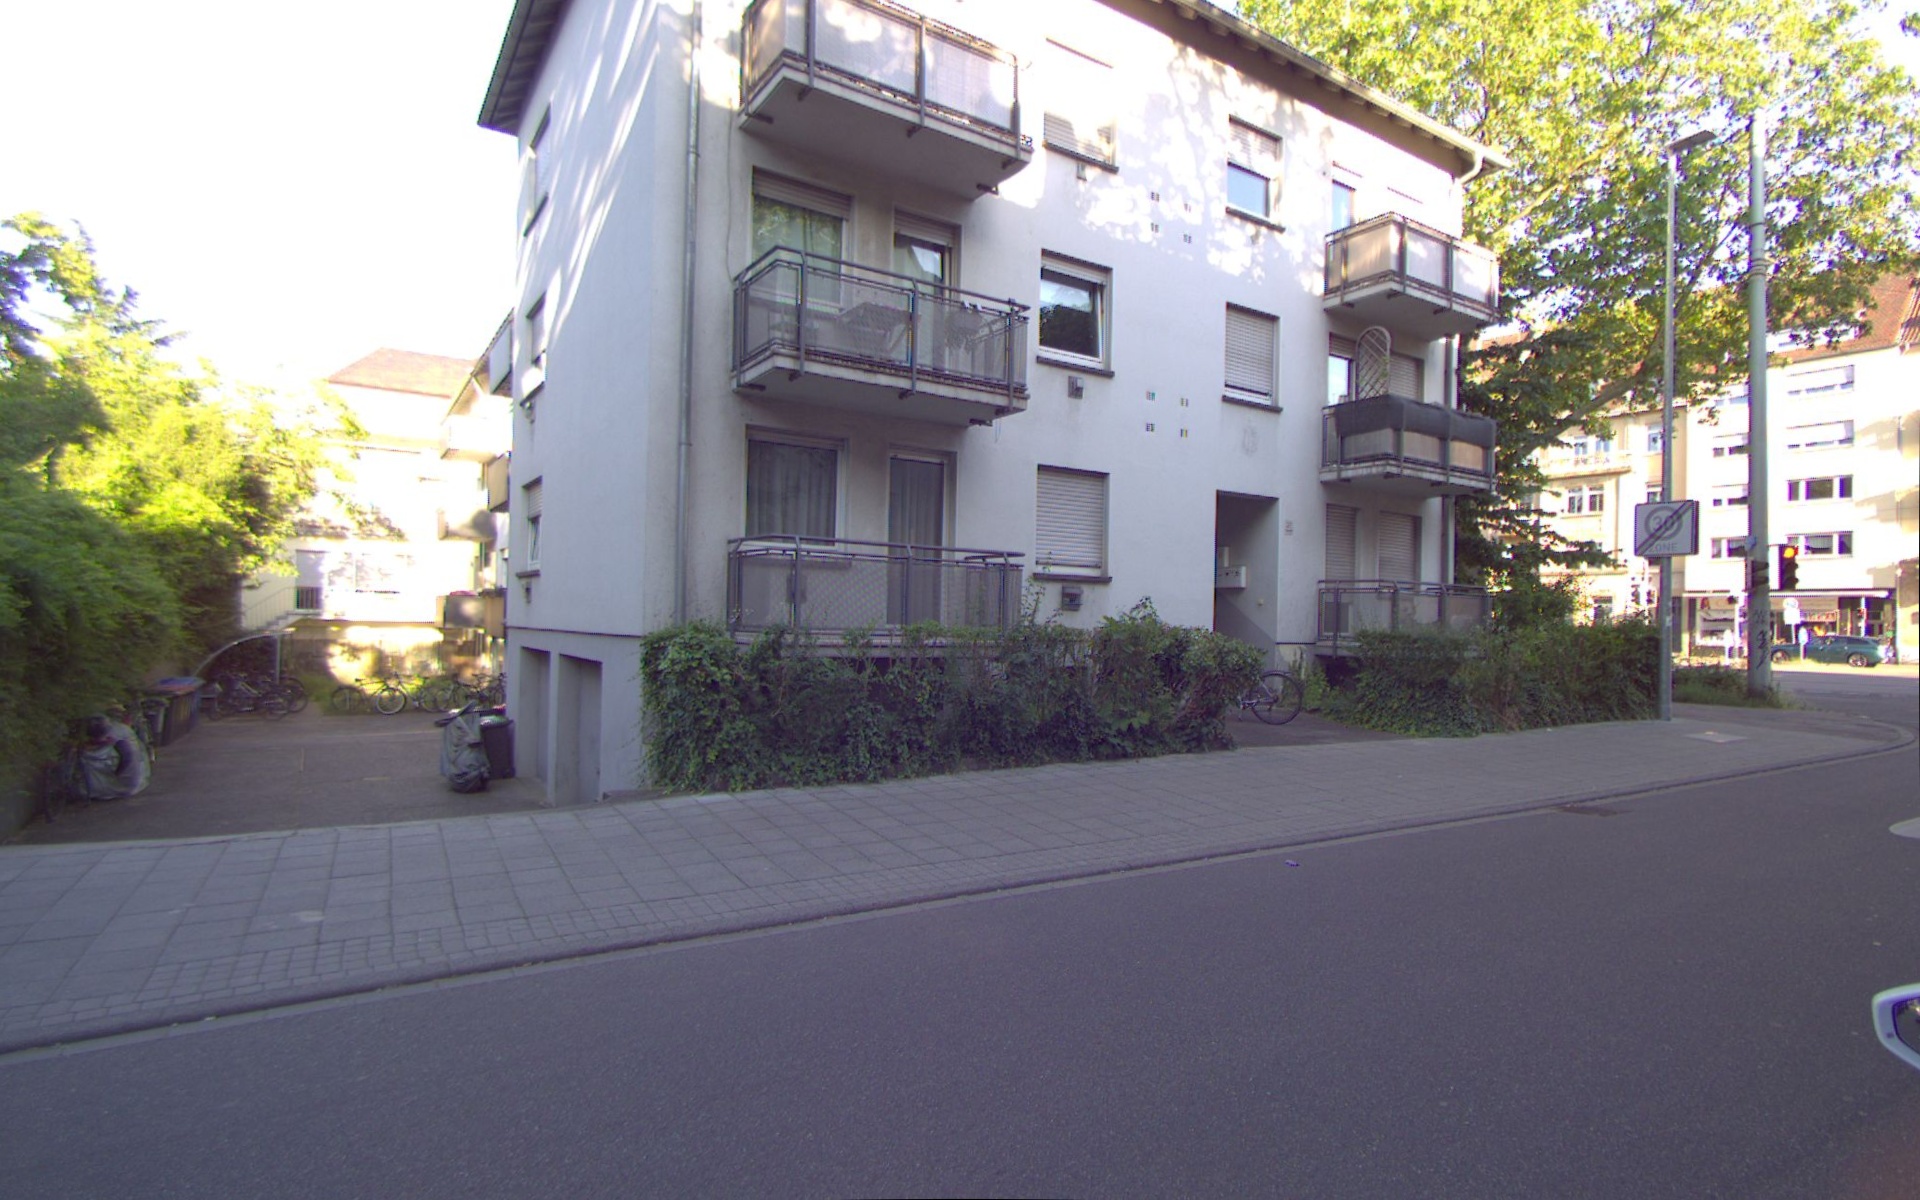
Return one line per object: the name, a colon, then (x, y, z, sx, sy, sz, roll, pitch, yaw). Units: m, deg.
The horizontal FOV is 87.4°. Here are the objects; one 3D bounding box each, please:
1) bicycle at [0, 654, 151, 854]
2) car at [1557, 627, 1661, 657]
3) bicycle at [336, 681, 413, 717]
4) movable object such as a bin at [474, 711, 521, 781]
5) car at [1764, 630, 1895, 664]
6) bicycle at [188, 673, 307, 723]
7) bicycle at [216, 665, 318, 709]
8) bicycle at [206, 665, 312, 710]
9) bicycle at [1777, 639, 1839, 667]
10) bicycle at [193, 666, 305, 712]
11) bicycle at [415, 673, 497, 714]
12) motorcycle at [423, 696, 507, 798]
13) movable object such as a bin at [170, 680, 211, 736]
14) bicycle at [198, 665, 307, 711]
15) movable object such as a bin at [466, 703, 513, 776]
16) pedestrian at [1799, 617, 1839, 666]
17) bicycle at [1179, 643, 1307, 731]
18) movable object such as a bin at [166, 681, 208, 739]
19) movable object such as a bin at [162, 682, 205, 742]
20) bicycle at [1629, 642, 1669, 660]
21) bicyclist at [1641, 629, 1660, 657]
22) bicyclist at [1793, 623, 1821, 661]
bicycle: (-10.606, 1.656, 11.982, 0.961, 1.917, 4.156, 1, -2, -32)
car: (31.807, 2.043, 49.302, 1.647, 1.378, 4.007, 1, -1, -35)
bicycle: (-15.571, 2.623, 26.747, 1.734, 0.890, 0.561, 2, -4, -30)
movable object such as a bin: (-7.405, 2.328, 16.092, 0.606, 1.051, 0.534, 1, -3, -34)
car: (39.028, 2.091, 45.185, 1.648, 1.367, 4.193, 1, -1, -35)
bicycle: (-17.341, 2.380, 24.528, 2.268, 1.148, 0.689, 2, -4, -30)
bicycle: (-19.648, 2.448, 28.543, 2.311, 1.192, 0.689, 2, -4, -30)
bicycle: (-19.377, 2.402, 27.818, 2.311, 1.192, 0.689, 2, -4, -30)
bicycle: (41.853, 2.608, 49.594, 0.630, 1.263, 2.243, 1, -1, -33)
bicycle: (-18.605, 2.322, 26.347, 2.311, 1.148, 0.689, 2, -4, -30)
bicycle: (-13.917, 2.572, 27.748, 1.982, 1.085, 0.561, 2, -4, -30)
motorcycle: (-7.409, 2.153, 15.010, 0.739, 1.313, 1.563, 2, -2, -41)
movable object such as a bin: (-16.367, 2.286, 21.388, 0.606, 1.129, 0.795, 1, -3, -33)
bicycle: (-19.031, 2.350, 27.093, 2.311, 1.192, 0.689, 2, -4, -30)
movable object such as a bin: (-7.921, 2.328, 16.904, 0.606, 1.129, 0.795, 1, -3, -33)
pedestrian: (44.683, 2.160, 52.262, 1.049, 2.497, 1.338, 1, 0, -34)
bicycle: (3.825, 1.154, 13.574, 1.590, 1.022, 0.517, 3, 1, 20)
movable object such as a bin: (-15.935, 2.256, 20.726, 0.606, 1.129, 0.795, 1, -3, -33)
movable object such as a bin: (-15.494, 2.224, 20.056, 0.606, 1.129, 0.795, 1, -3, -33)
bicycle: (36.423, 2.709, 53.118, 0.630, 0.888, 1.607, 1, -1, -34)
bicyclist: (36.464, 2.249, 53.064, 0.630, 1.445, 0.639, 1, -1, -35)
bicyclist: (41.846, 2.067, 49.626, 0.630, 1.884, 0.886, 1, -1, -34)
